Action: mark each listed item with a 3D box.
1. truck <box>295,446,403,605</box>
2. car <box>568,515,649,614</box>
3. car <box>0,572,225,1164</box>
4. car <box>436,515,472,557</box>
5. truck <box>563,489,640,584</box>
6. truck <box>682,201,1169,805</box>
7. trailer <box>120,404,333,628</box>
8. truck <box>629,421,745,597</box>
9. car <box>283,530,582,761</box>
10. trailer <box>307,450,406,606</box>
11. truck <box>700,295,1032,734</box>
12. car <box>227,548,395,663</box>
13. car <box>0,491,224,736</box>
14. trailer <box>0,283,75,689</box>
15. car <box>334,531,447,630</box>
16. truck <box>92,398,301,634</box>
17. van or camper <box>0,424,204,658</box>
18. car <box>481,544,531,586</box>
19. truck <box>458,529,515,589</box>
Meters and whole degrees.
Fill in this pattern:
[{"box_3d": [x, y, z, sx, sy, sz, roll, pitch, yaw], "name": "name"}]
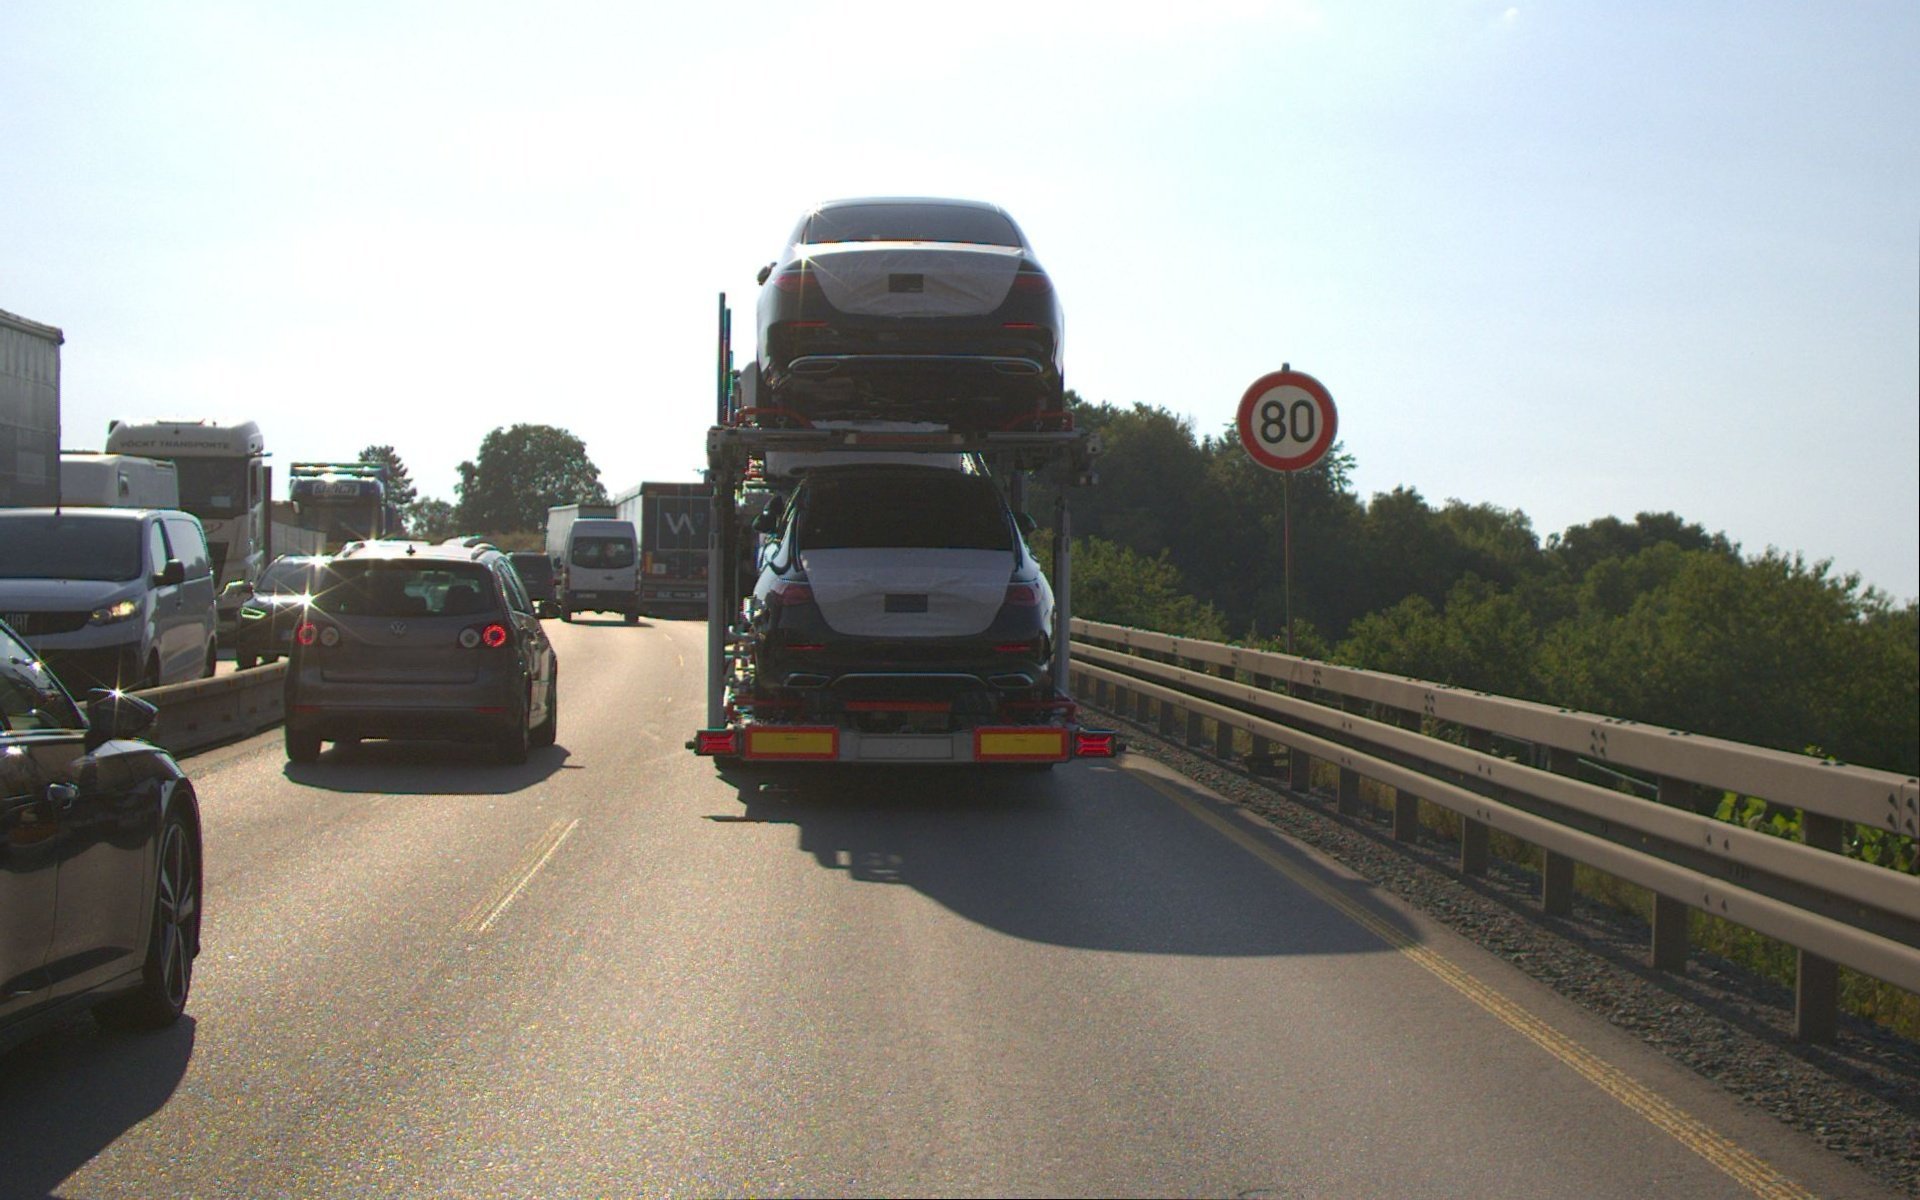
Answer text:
[{"box_3d": [-16.130, -1.933, 90.986, 2.502, 4.052, 5.666, 1, 0, -7], "name": "truck"}, {"box_3d": [-9.143, -0.910, 89.733, 1.920, 2.484, 5.409, 1, 0, -4], "name": "car"}, {"box_3d": [-3.323, 0.636, 9.123, 1.934, 1.394, 4.961, 1, 1, -3], "name": "car"}, {"box_3d": [-24.500, -3.085, 166.450, 1.629, 2.007, 4.001, 1, 0, -9], "name": "car"}, {"box_3d": [-14.226, -2.458, 136.896, 2.530, 3.635, 8.906, 1, 0, -3], "name": "truck"}, {"box_3d": [-0.494, -0.589, 25.350, 2.799, 3.485, 10.606, 1, 0, -3], "name": "truck"}, {"box_3d": [-13.558, -1.446, 64.560, 2.519, 3.712, 13.981, 1, 0, -6], "name": "trailer"}, {"box_3d": [-8.599, -2.736, 107.245, 3.285, 5.219, 9.937, 1, 0, -6], "name": "truck"}, {"box_3d": [-3.901, 0.308, 25.994, 1.691, 1.590, 4.000, 1, 0, -1], "name": "car"}, {"box_3d": [-17.258, -1.962, 98.885, 2.306, 4.116, 14.604, 1, 0, -8], "name": "trailer"}, {"box_3d": [-1.075, -0.765, 34.833, 2.837, 3.779, 9.988, 1, 0, -3], "name": "truck"}, {"box_3d": [-8.820, 0.057, 47.036, 1.680, 1.474, 4.603, 1, 0, -3], "name": "car"}, {"box_3d": [-7.585, 0.087, 29.413, 1.816, 1.919, 4.837, 1, 0, -4], "name": "car"}, {"box_3d": [-11.083, -1.181, 35.110, 2.442, 4.174, 8.545, 1, 0, -4], "name": "trailer"}, {"box_3d": [-10.144, -0.348, 61.479, 1.756, 1.689, 4.454, 1, 0, -7], "name": "car"}, {"box_3d": [-12.838, -1.357, 58.258, 2.600, 3.741, 6.518, 1, 0, -5], "name": "truck"}, {"box_3d": [-11.964, -0.761, 46.353, 2.407, 2.881, 7.619, 1, 0, -4], "name": "van or camper"}, {"box_3d": [-19.947, -1.525, 151.064, 1.826, 1.766, 4.000, 1, 0, -2], "name": "car"}, {"box_3d": [-25.717, -2.228, 186.864, 2.590, 3.159, 6.678, 1, 0, -4], "name": "truck"}]
